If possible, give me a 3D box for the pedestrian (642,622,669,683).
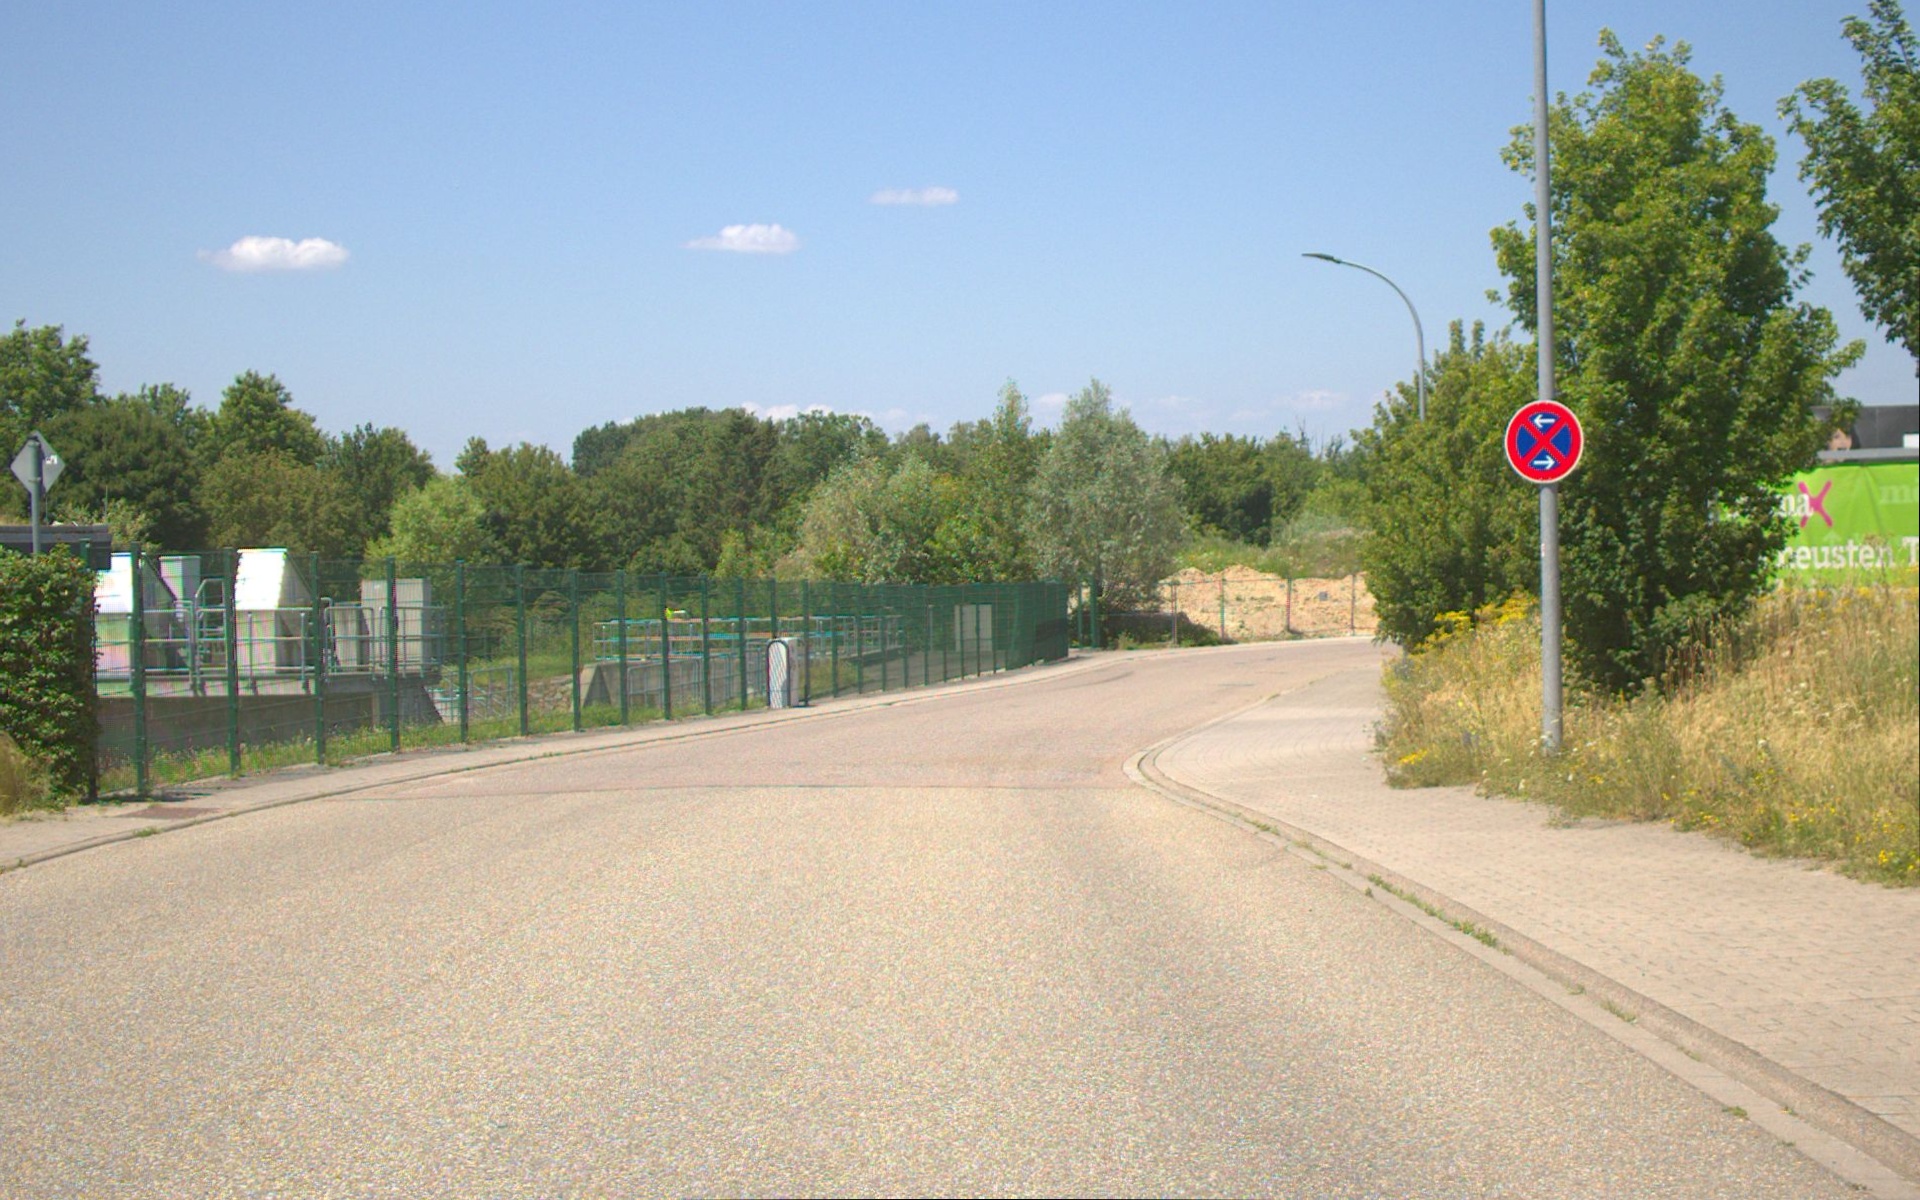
[{"bbox_3d":[-9.256,1.594,104.546,0.606,1.833,0.804,-2,0,7],"label":"pedestrian"}]
